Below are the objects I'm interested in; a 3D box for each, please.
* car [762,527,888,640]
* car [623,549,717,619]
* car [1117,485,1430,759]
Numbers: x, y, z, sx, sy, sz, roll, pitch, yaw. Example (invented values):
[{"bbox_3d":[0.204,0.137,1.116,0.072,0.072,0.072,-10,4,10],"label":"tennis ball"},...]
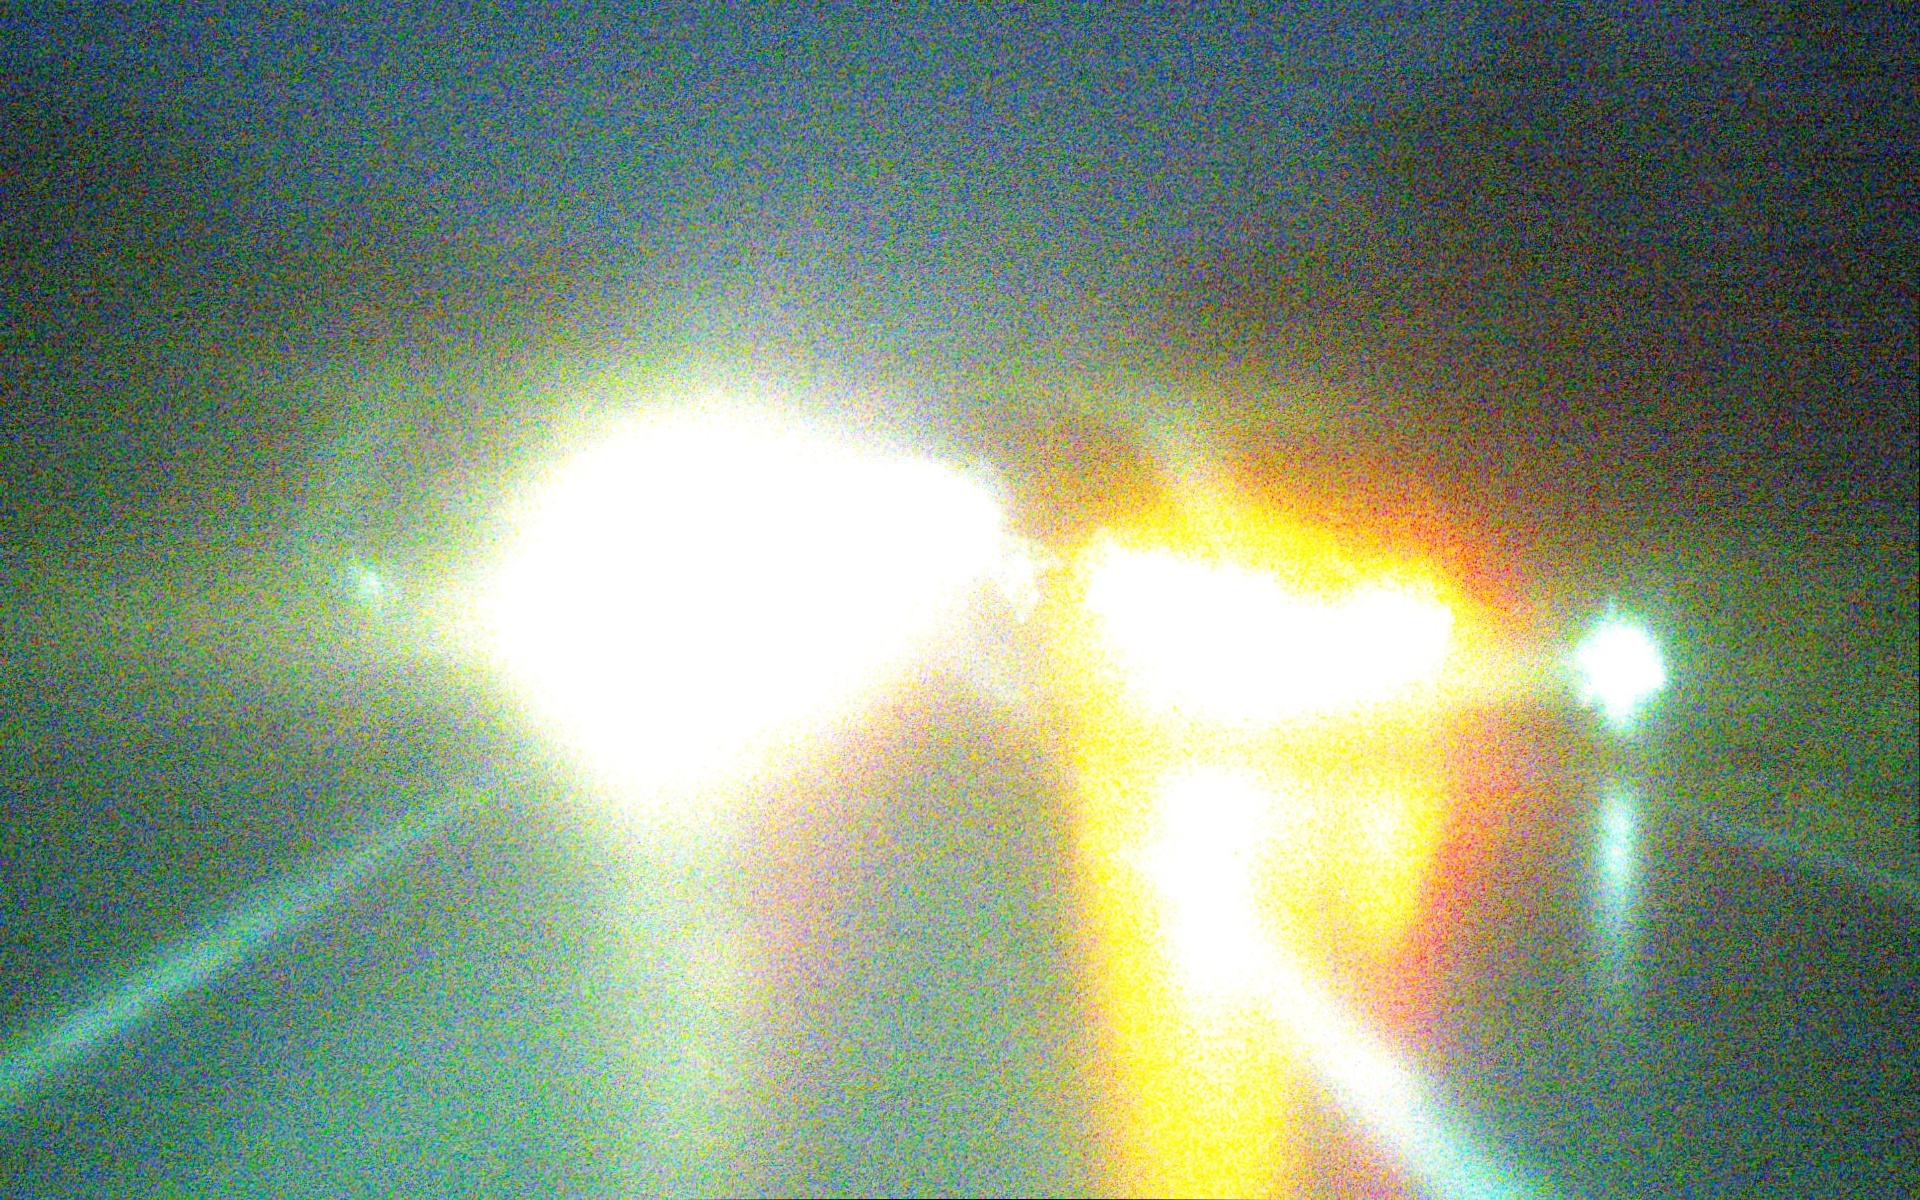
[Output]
[{"bbox_3d":[-2.019,-0.275,51.542,1.808,1.616,4.001,0,1,-2],"label":"car"},{"bbox_3d":[-6.849,-0.403,81.694,1.993,1.570,4.662,0,1,-2],"label":"car"},{"bbox_3d":[2.412,0.128,27.446,2.093,2.007,4.000,0,1,0],"label":"car"}]
